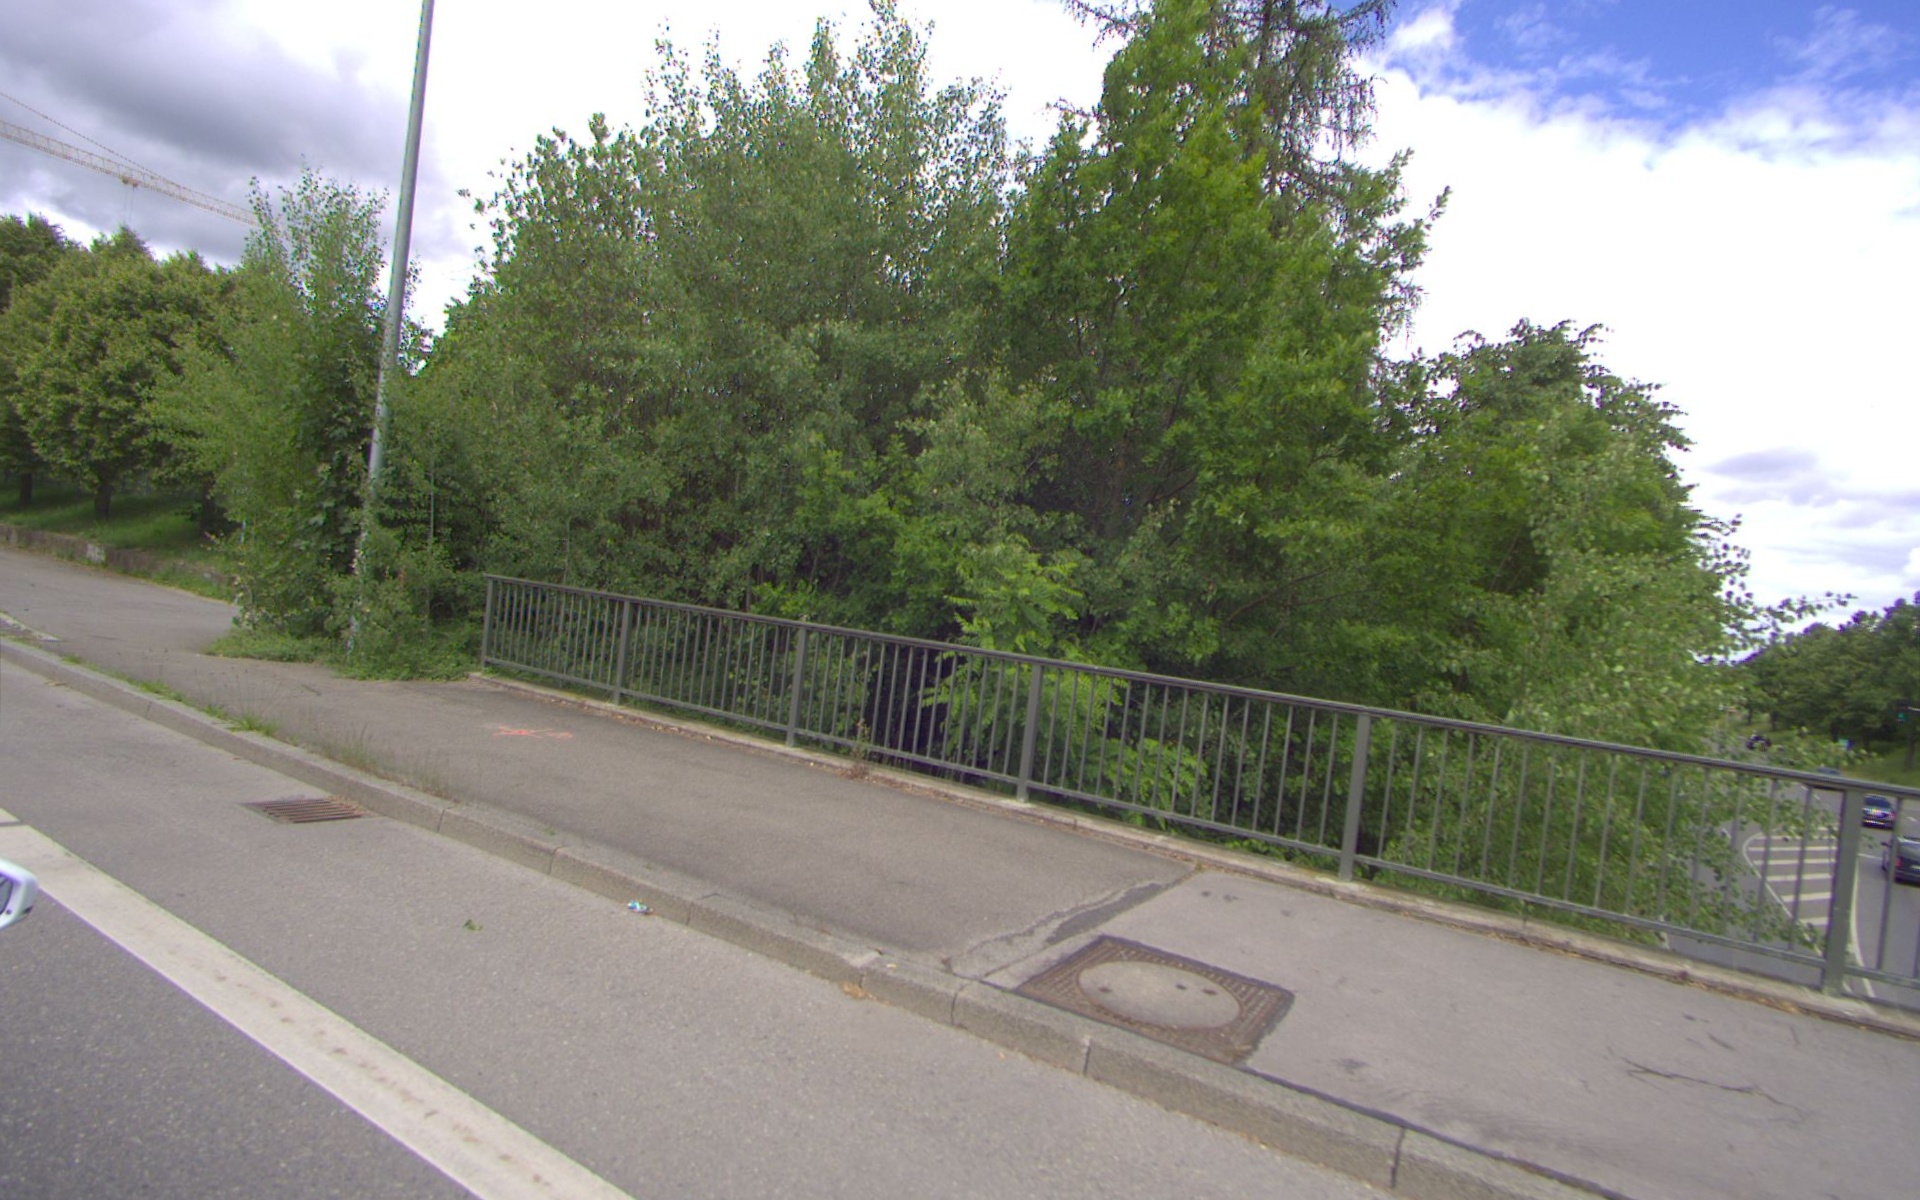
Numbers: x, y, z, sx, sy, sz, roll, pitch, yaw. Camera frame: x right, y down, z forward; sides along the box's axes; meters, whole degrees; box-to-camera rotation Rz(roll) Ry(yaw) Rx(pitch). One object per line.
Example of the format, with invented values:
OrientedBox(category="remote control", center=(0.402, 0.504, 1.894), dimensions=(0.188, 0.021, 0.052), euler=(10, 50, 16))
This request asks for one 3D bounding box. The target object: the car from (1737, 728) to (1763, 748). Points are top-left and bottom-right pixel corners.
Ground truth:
OrientedBox(category="car", center=(80.512, 14.053, 102.535), dimensions=(1.655, 1.560, 3.842), euler=(8, 2, 35))

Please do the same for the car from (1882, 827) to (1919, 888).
OrientedBox(category="car", center=(36.121, 9.774, 38.034), dimensions=(1.659, 1.560, 3.833), euler=(9, 3, 43))

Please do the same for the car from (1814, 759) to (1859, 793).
OrientedBox(category="car", center=(58.287, 11.692, 66.937), dimensions=(1.655, 1.560, 3.842), euler=(8, 2, 35))

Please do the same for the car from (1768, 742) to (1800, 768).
OrientedBox(category="car", center=(70.493, 13.237, 86.098), dimensions=(1.655, 1.560, 3.842), euler=(8, 2, 35))
